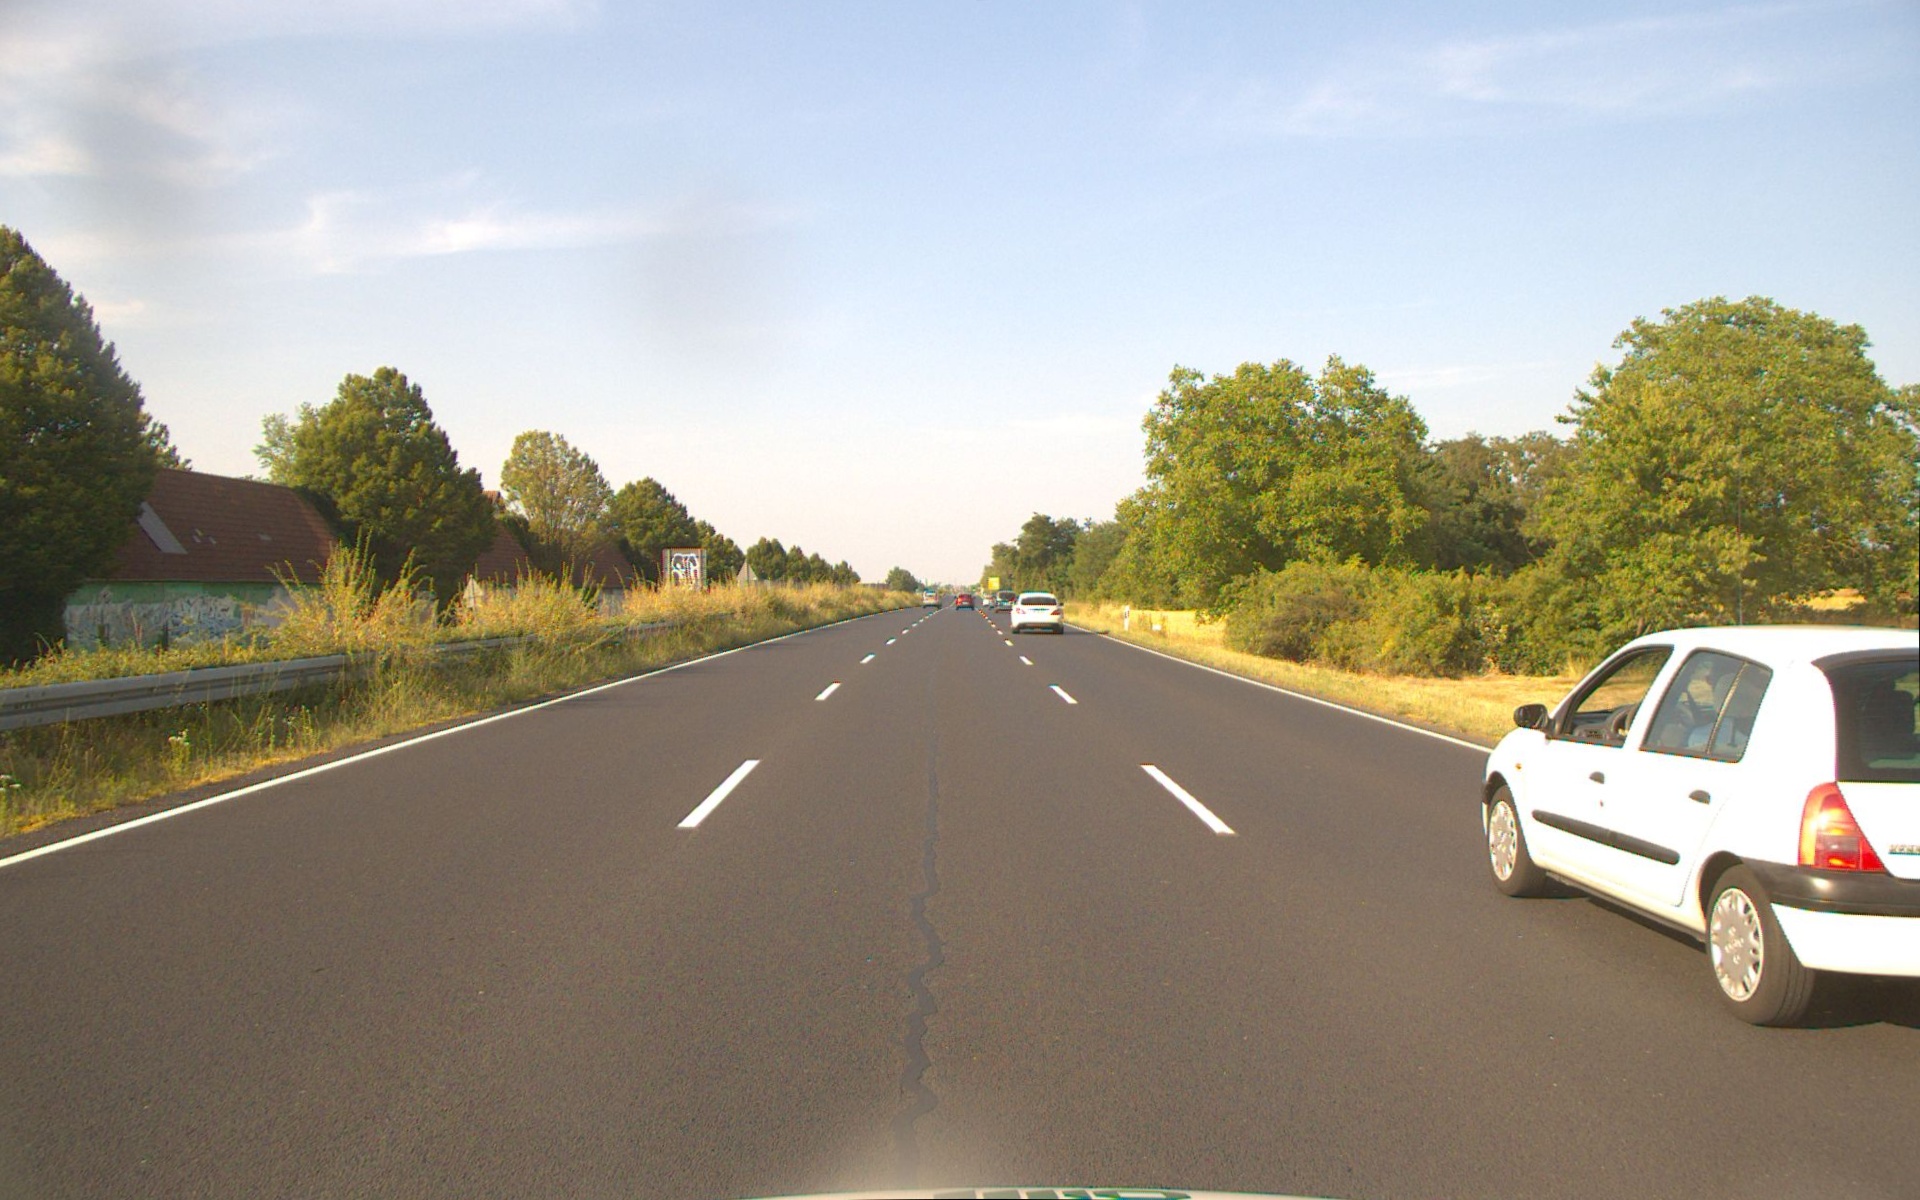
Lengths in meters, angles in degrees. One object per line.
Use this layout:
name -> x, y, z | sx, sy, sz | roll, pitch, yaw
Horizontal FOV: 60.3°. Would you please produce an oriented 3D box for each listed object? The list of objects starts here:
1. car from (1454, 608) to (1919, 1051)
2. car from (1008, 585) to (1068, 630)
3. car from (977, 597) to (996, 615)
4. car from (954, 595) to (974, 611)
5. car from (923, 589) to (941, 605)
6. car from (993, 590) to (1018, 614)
car -> 3.574, 0.761, 7.273 | 1.584, 1.411, 3.950 | 1, -1, -1
car -> 2.778, 0.280, 59.859 | 1.953, 1.543, 4.000 | 1, -1, 0
car -> 2.659, 0.596, 164.873 | 1.796, 1.747, 3.862 | 1, -1, 0
car -> 0.332, 0.268, 153.661 | 1.775, 1.461, 3.857 | 1, -1, -1
car -> -3.075, -0.322, 181.975 | 1.722, 1.646, 4.001 | 1, -1, 2
car -> 3.472, 0.189, 127.236 | 1.790, 1.758, 3.999 | 1, -1, 0
